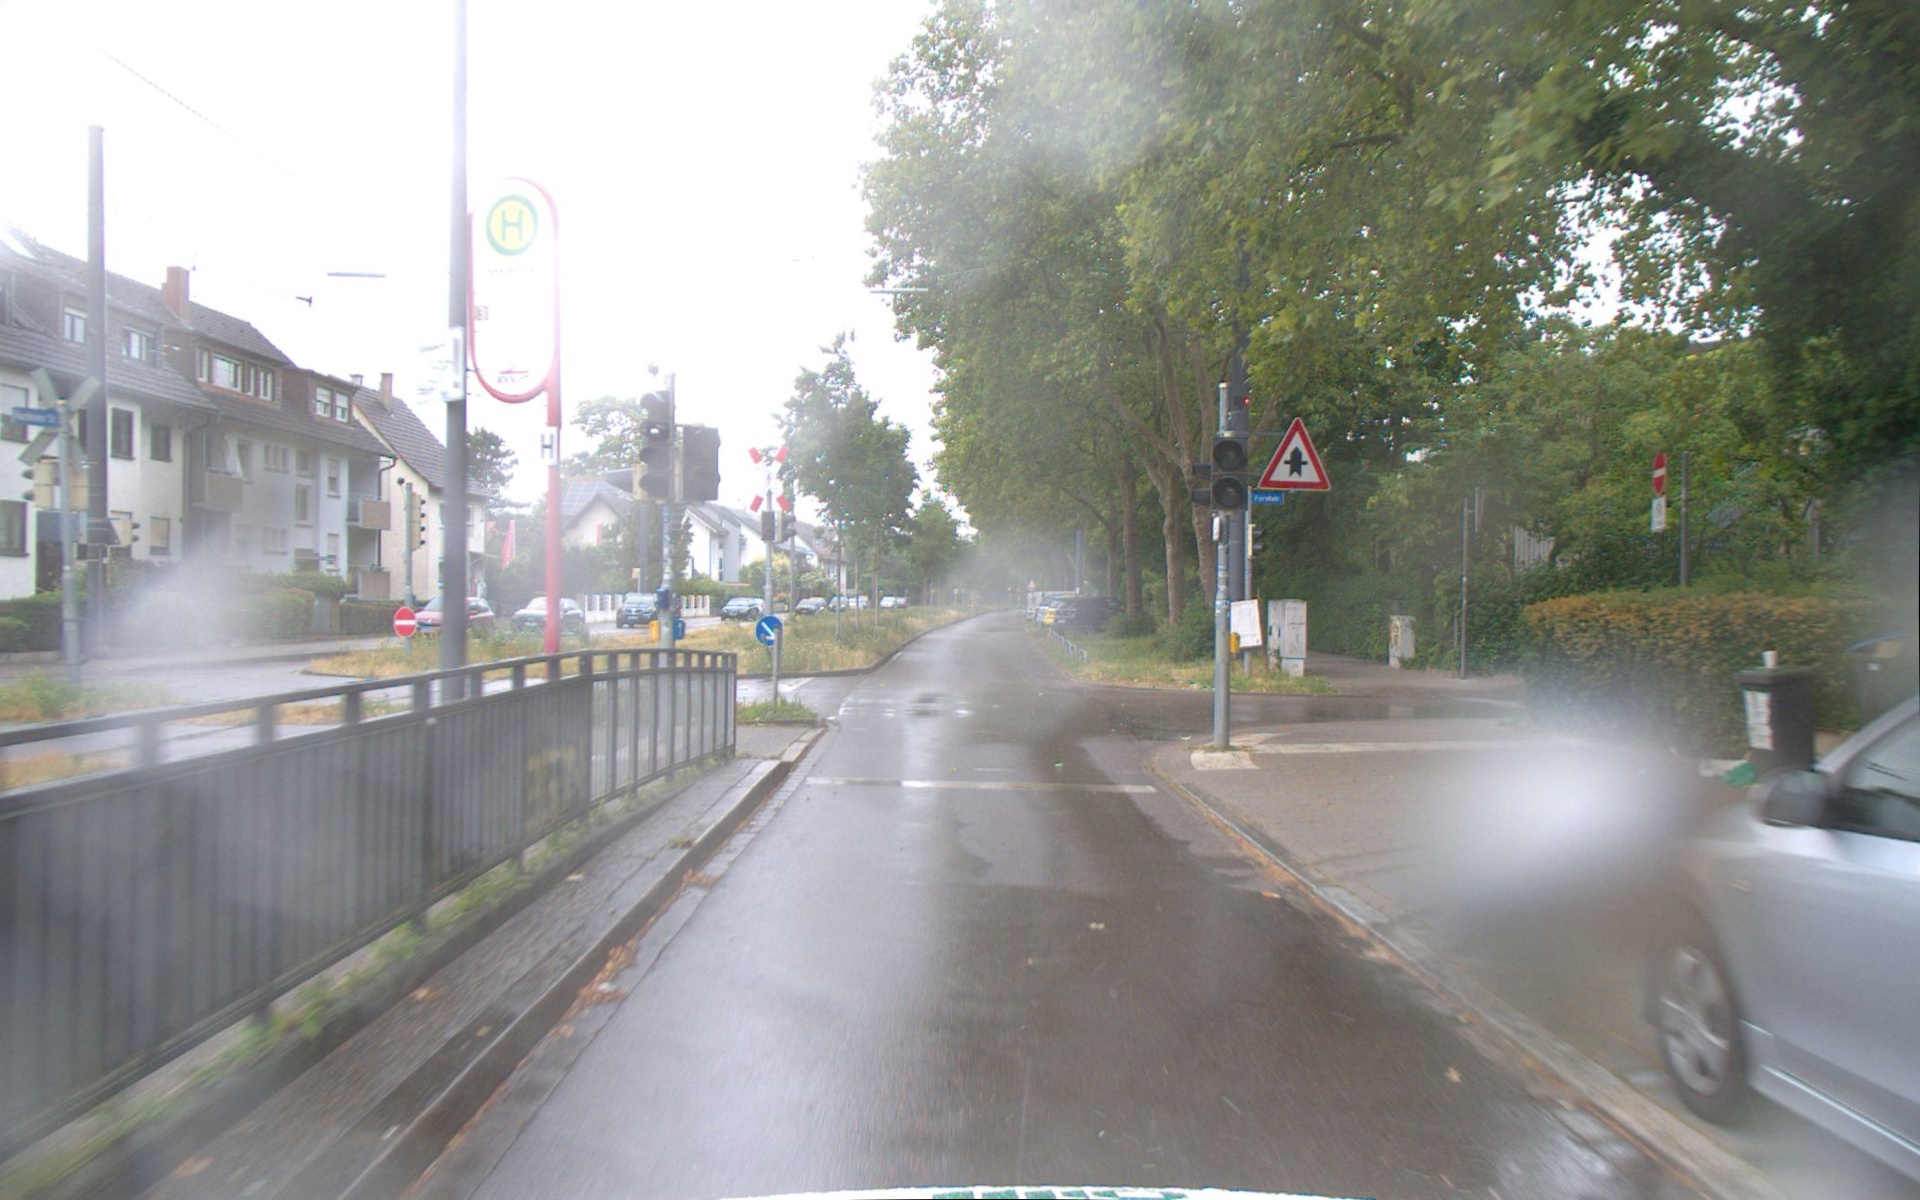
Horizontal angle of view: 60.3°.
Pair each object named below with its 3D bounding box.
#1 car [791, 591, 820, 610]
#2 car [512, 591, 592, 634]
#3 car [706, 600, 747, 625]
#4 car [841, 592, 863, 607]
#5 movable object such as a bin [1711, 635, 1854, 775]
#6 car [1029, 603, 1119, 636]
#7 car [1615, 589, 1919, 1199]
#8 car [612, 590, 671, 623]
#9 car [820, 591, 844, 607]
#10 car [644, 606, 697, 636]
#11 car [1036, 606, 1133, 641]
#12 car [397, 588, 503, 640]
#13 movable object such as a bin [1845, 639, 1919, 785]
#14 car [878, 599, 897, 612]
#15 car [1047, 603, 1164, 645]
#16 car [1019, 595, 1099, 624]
[{"bbox_3d":[-13.127,0.055,140.565,1.888,1.512,4.001,1,-1,2],"label":"car"},{"bbox_3d":[-15.379,0.478,62.536,1.888,1.512,4.001,1,-1,2],"label":"car"},{"bbox_3d":[-14.936,0.789,106.151,1.888,1.512,4.001,1,-1,2],"label":"car"},{"bbox_3d":[-11.385,-0.090,174.950,1.888,1.512,4.001,1,-1,2],"label":"car"},{"bbox_3d":[6.517,0.816,13.140,0.678,1.040,0.824,-2,0,-2],"label":"movable object such as a bin"},{"bbox_3d":[5.525,0.935,80.330,3.921,1.478,1.992,1,-1,-16],"label":"car"},{"bbox_3d":[3.043,0.695,3.432,1.770,1.493,3.793,-3,-1,-1],"label":"car"},{"bbox_3d":[-15.287,0.309,79.641,1.888,1.512,4.001,1,-1,2],"label":"car"},{"bbox_3d":[-12.581,-0.067,162.984,1.888,1.512,4.001,1,-1,2],"label":"car"},{"bbox_3d":[-15.040,1.082,86.161,1.888,1.512,4.001,1,-1,2],"label":"car"},{"bbox_3d":[5.628,1.043,74.698,3.921,1.478,1.992,1,-1,-16],"label":"car"},{"bbox_3d":[-15.841,0.437,51.589,1.888,1.512,4.001,1,-1,2],"label":"car"},{"bbox_3d":[7.197,0.831,12.546,0.525,1.040,0.738,-2,0,-2],"label":"movable object such as a bin"},{"bbox_3d":[-8.969,0.662,204.971,1.888,1.512,4.001,1,-1,2],"label":"car"},{"bbox_3d":[5.461,0.891,62.191,3.921,1.478,1.992,1,-1,-16],"label":"car"},{"bbox_3d":[5.424,0.539,90.525,3.921,1.478,1.992,1,-1,-16],"label":"car"}]
